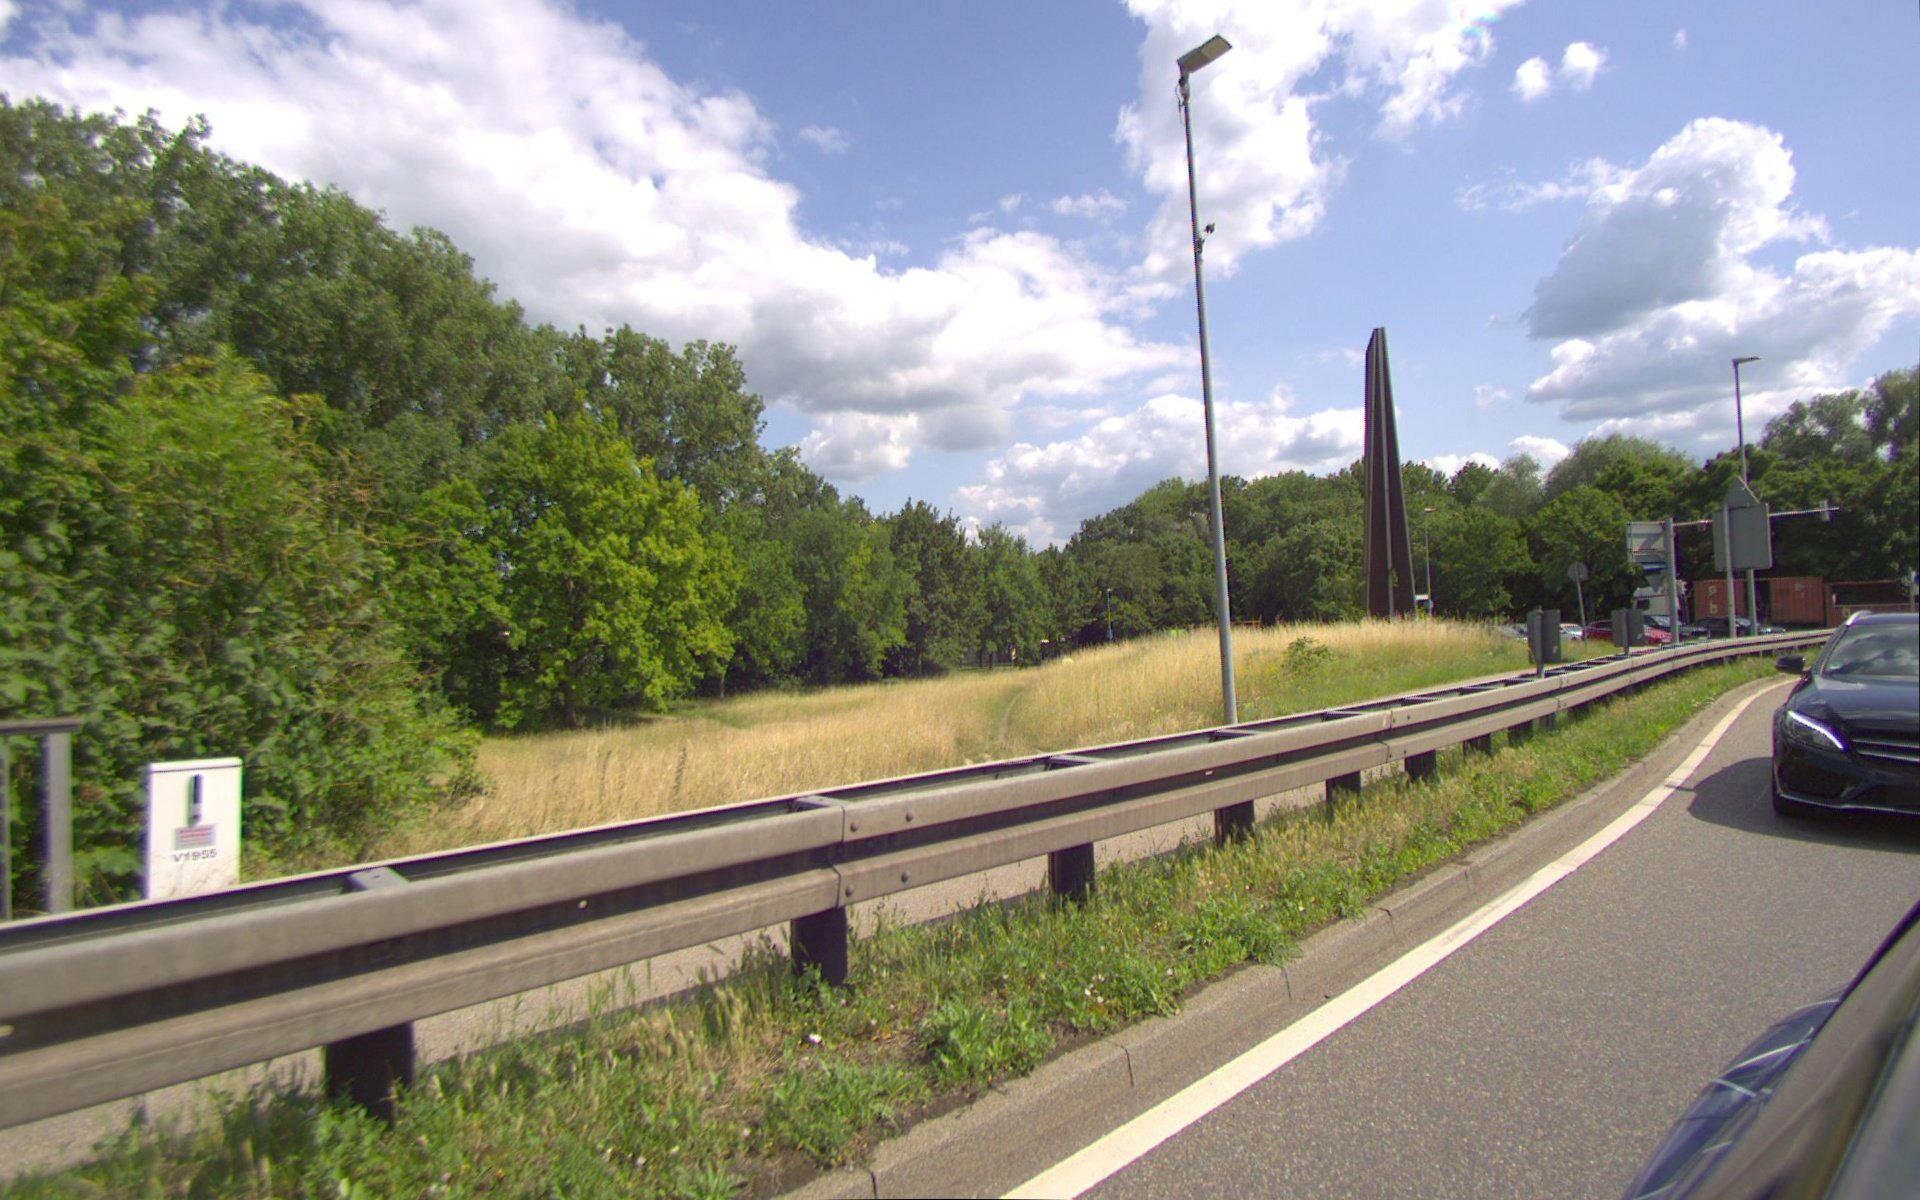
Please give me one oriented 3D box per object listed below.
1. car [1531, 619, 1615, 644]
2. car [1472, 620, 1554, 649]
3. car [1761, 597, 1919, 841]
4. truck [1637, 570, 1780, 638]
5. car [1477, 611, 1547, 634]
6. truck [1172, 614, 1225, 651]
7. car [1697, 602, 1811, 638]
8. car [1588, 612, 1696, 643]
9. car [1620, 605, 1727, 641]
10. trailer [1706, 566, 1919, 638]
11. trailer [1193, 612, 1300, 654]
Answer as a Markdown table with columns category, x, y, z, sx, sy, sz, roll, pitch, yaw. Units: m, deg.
| category | x | y | z | sx | sy | sz | roll | pitch | yaw |
| --- | --- | --- | --- | --- | --- | --- | --- | --- | --- |
| car | 34.531 | 1.796 | 57.107 | 1.612 | 1.393 | 4.221 | 0 | -2 | -10 |
| car | 31.074 | 1.977 | 56.993 | 1.828 | 1.483 | 4.005 | -2 | -3 | -11 |
| car | 7.306 | 0.699 | 7.482 | 1.790 | 1.454 | 4.301 | -2 | -1 | 43 |
| truck | 45.848 | 0.337 | 62.102 | 6.788 | 3.895 | 2.737 | -3 | -3 | 41 |
| car | 36.082 | 1.506 | 66.223 | 1.841 | 1.393 | 4.055 | 0 | -2 | -10 |
| truck | 26.521 | 3.675 | 112.847 | 2.817 | 3.955 | 5.886 | 0 | -3 | -20 |
| car | 39.704 | 1.046 | 50.731 | 1.807 | 1.638 | 4.300 | -2 | -2 | -10 |
| car | 32.288 | 1.347 | 48.061 | 1.723 | 1.393 | 4.221 | 0 | -2 | -10 |
| car | 35.224 | 1.166 | 50.117 | 1.800 | 1.667 | 4.221 | 0 | -2 | -10 |
| trailer | 50.657 | 0.172 | 58.211 | 12.255 | 3.900 | 2.741 | -2 | -2 | 39 |
| trailer | 29.600 | 3.553 | 105.752 | 2.592 | 3.943 | 13.866 | 0 | -3 | -22 |
